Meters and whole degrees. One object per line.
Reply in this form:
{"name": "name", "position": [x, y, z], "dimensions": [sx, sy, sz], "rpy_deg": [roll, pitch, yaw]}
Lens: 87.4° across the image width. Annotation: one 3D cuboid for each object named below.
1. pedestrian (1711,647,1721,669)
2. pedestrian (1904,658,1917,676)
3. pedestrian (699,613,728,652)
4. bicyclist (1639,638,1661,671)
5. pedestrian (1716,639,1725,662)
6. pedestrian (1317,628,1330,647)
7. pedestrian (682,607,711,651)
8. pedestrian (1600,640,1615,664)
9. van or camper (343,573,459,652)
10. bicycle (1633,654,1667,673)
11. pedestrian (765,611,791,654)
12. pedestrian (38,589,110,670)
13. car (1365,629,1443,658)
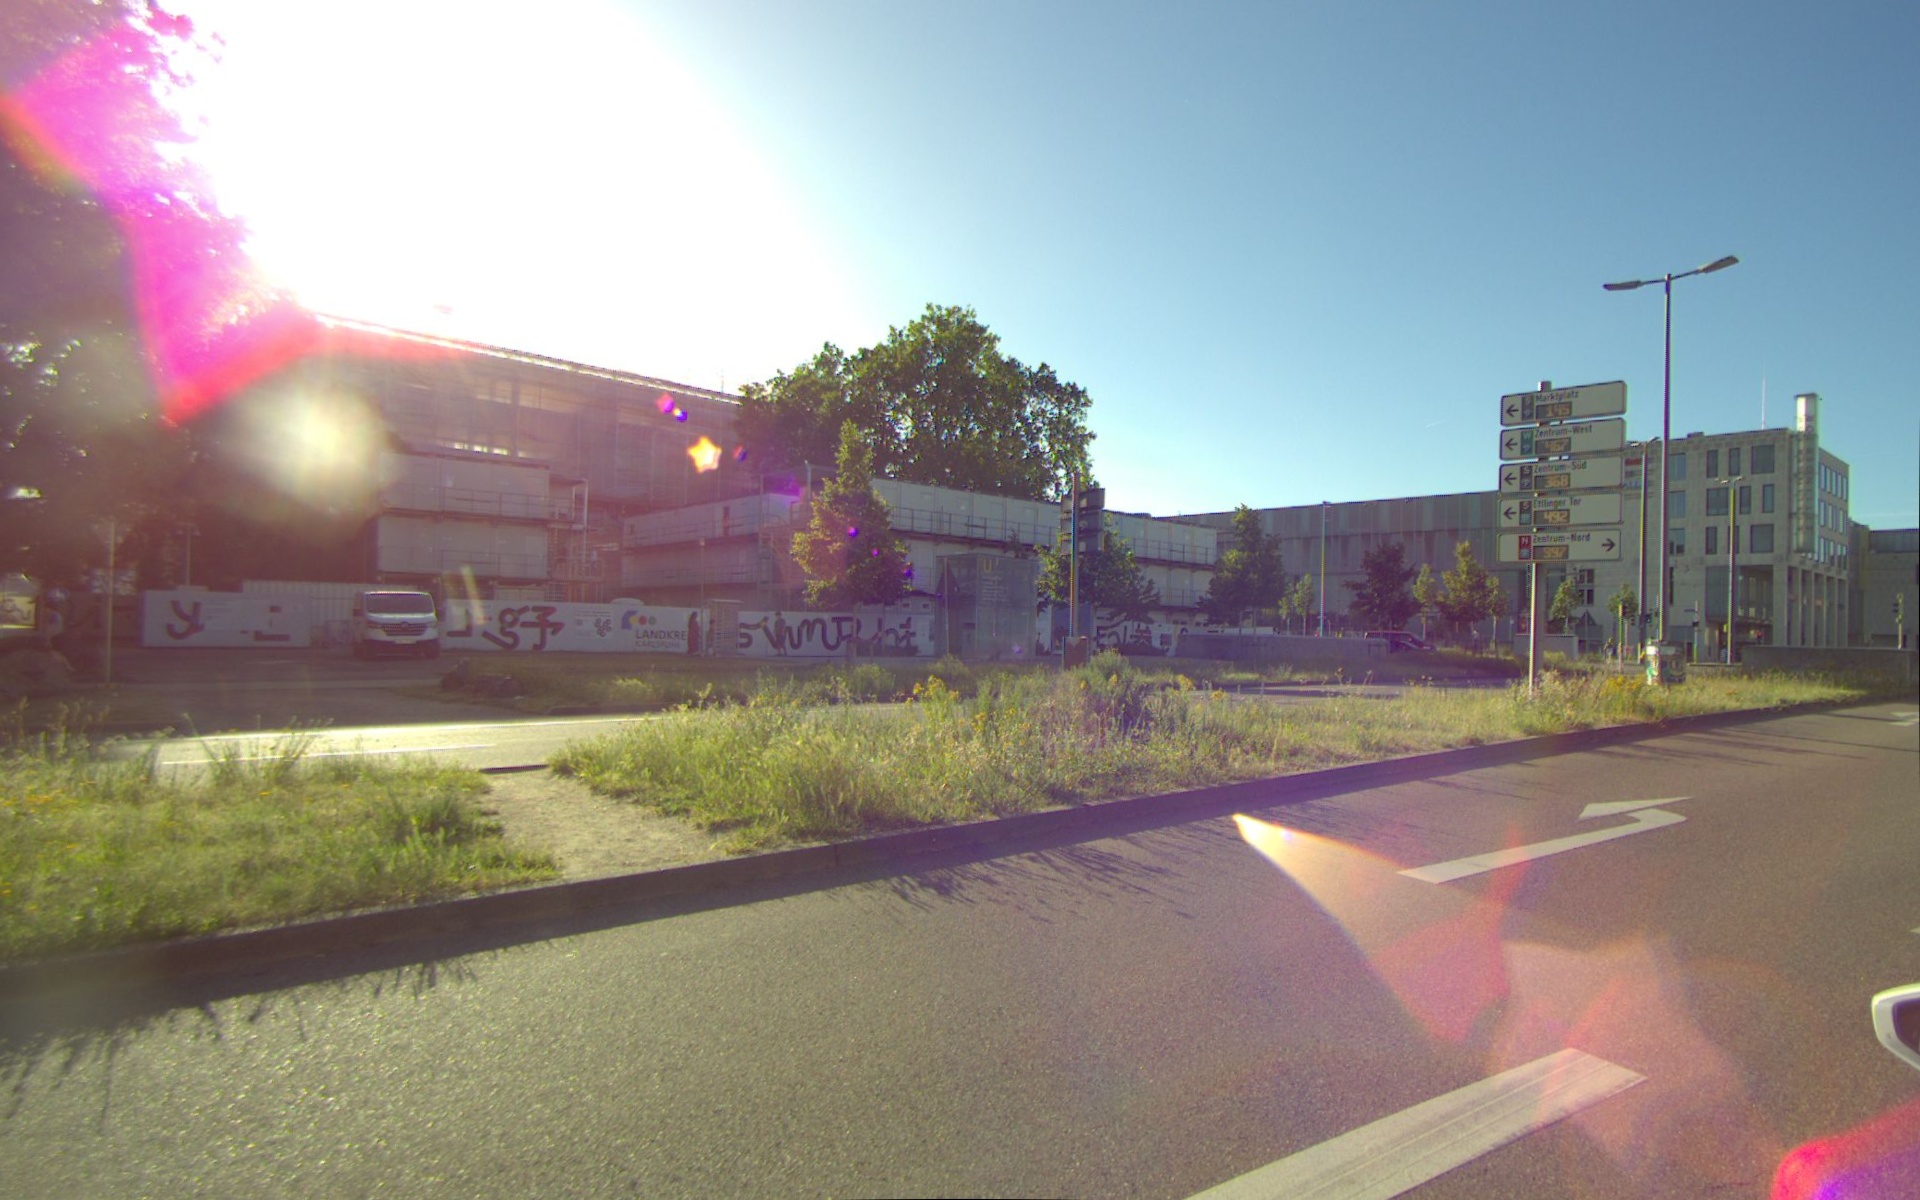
{"name": "pedestrian", "position": [68.767, 5.271, 91.352], "dimensions": [0.616, 2.040, 0.513], "rpy_deg": [1, -1, 44]}
{"name": "pedestrian", "position": [91.942, 6.490, 97.119], "dimensions": [0.730, 1.629, 0.624], "rpy_deg": [1, -1, 25]}
{"name": "pedestrian", "position": [-8.918, 1.163, 36.305], "dimensions": [0.829, 1.396, 0.574], "rpy_deg": [2, -1, -40]}
{"name": "bicyclist", "position": [31.947, 2.507, 46.488], "dimensions": [0.673, 1.508, 0.603], "rpy_deg": [2, -1, -33]}
{"name": "pedestrian", "position": [69.012, 4.600, 91.143], "dimensions": [0.616, 2.040, 0.513], "rpy_deg": [1, -1, 44]}
{"name": "pedestrian", "position": [30.571, 3.166, 84.426], "dimensions": [0.792, 1.522, 0.720], "rpy_deg": [0, -2, 44]}
{"name": "pedestrian", "position": [-9.671, 1.075, 36.837], "dimensions": [0.829, 1.578, 0.574], "rpy_deg": [2, -1, -40]}
{"name": "pedestrian", "position": [43.106, 3.453, 66.861], "dimensions": [0.714, 1.522, 0.798], "rpy_deg": [0, -2, 43]}
{"name": "van or camper", "position": [-16.834, 0.421, 30.079], "dimensions": [2.237, 2.039, 5.623], "rpy_deg": [5, -4, -36]}
{"name": "bicycle", "position": [31.914, 2.935, 46.471], "dimensions": [1.930, 0.873, 0.608], "rpy_deg": [2, -1, -33]}
{"name": "pedestrian", "position": [-7.342, 1.301, 40.601], "dimensions": [0.829, 1.711, 0.574], "rpy_deg": [2, -1, -40]}
{"name": "pedestrian", "position": [-17.343, 0.571, 19.692], "dimensions": [0.932, 1.548, 0.609], "rpy_deg": [2, -1, -33]}
{"name": "car", "position": [30.716, 2.995, 69.534], "dimensions": [4.592, 1.833, 1.861], "rpy_deg": [0, -4, 45]}
